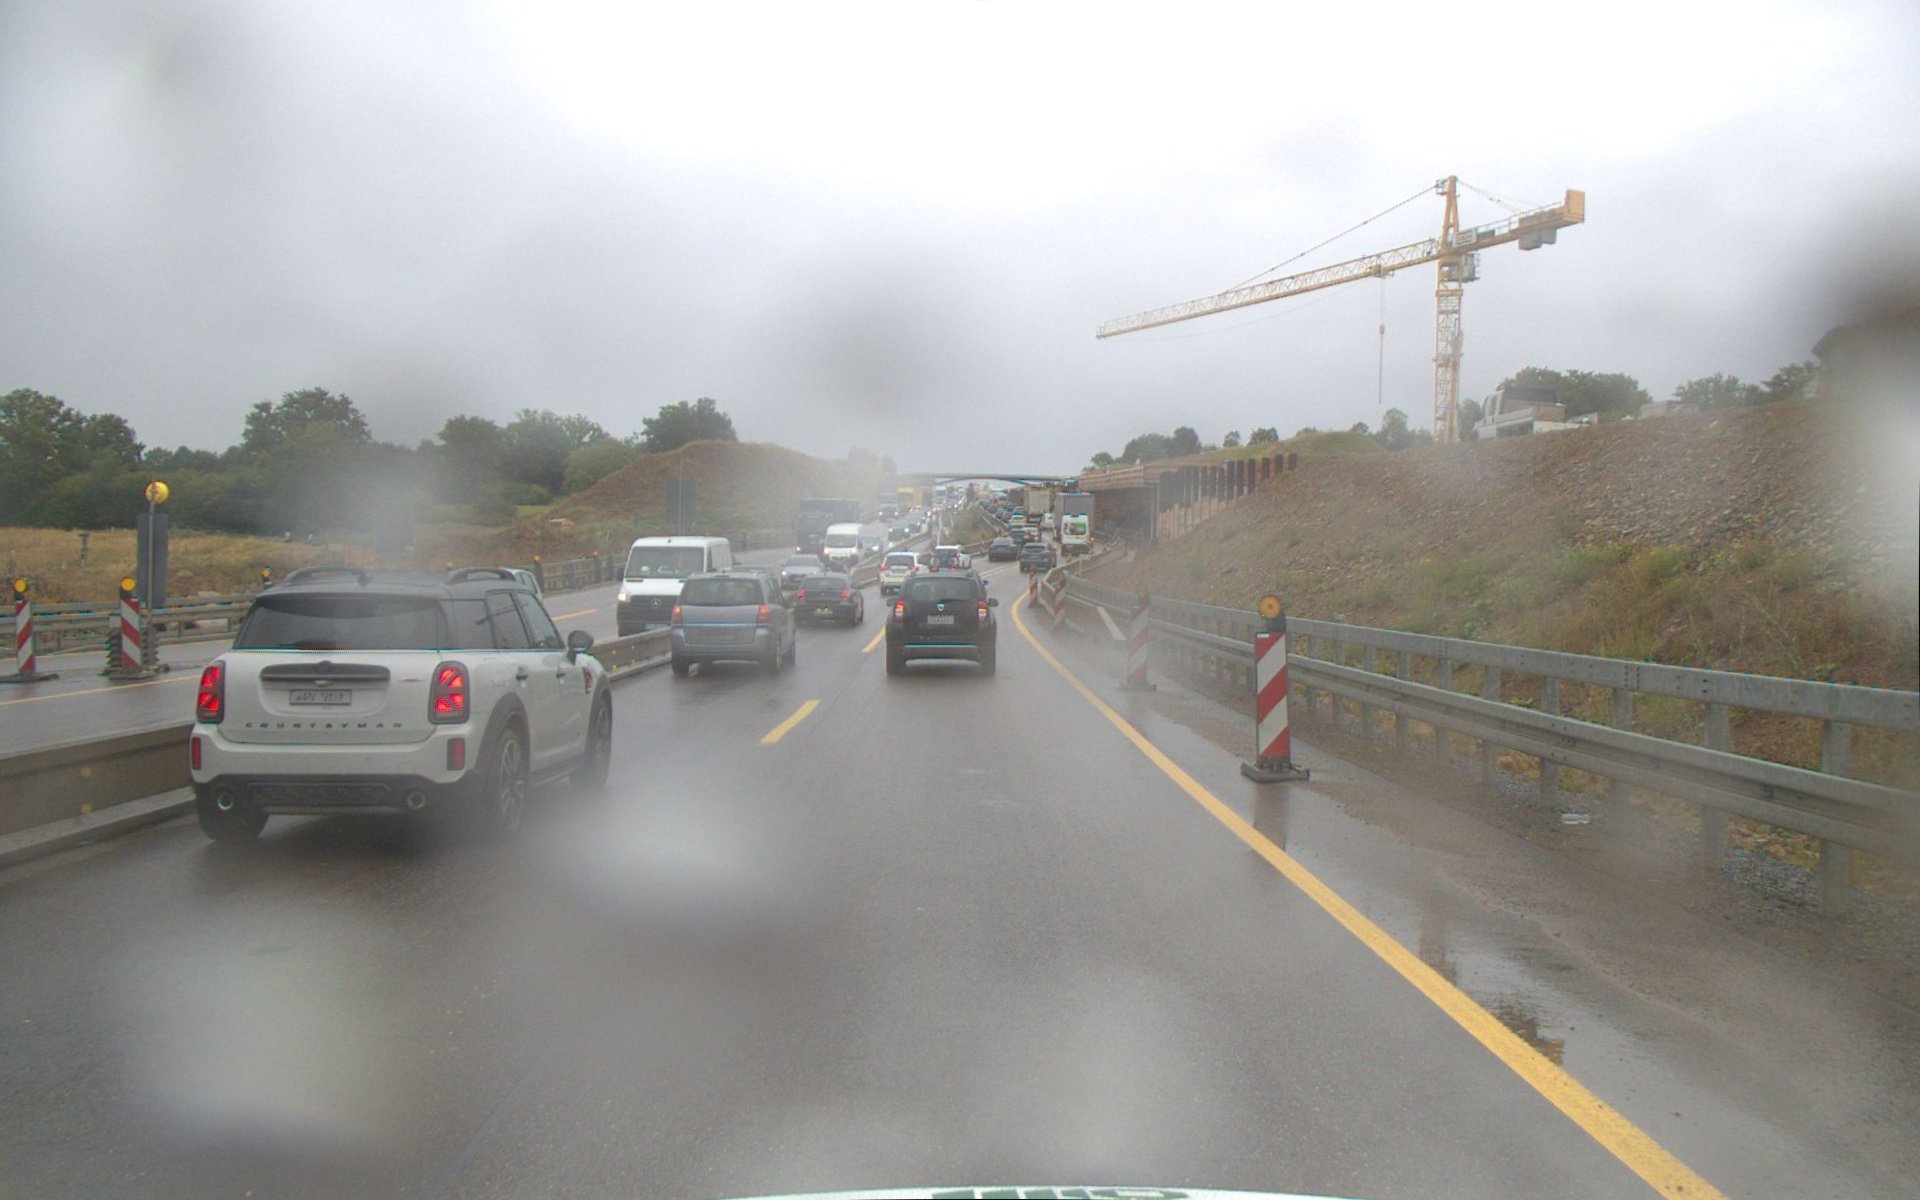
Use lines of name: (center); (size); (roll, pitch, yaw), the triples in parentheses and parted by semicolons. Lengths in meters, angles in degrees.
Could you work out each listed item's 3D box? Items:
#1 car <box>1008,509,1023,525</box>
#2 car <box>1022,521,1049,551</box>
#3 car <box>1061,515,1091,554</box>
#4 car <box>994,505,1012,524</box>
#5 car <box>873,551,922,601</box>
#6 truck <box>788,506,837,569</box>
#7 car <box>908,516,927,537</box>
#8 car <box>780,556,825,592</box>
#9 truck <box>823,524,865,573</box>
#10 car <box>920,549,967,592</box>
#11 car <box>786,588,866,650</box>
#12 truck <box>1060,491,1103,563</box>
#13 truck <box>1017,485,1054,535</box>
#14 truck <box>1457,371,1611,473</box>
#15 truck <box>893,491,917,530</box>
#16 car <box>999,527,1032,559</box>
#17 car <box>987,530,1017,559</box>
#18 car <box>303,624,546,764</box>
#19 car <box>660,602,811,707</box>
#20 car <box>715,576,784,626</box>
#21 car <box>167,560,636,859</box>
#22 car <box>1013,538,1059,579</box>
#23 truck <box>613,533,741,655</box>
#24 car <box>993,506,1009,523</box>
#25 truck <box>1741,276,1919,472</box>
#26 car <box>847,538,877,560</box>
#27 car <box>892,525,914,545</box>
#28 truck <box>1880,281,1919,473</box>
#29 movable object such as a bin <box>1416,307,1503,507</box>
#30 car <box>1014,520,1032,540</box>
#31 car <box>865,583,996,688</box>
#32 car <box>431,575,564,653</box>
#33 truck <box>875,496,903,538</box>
car: (7.872, -11.722, 233.927); (1.953, 2.049, 3.999); (0, 0, -1)
car: (6.020, -5.051, 131.269); (1.951, 2.200, 4.143); (0, 0, 5)
car: (8.157, -4.549, 115.990); (1.951, 2.528, 4.985); (0, 0, 5)
car: (5.020, -9.980, 192.867); (1.953, 2.048, 4.000); (-1, 2, 0)
car: (-2.581, -0.980, 69.435); (1.953, 2.049, 3.893); (0, 0, -1)
truck: (-9.740, -4.155, 109.855); (2.588, 4.039, 9.213); (0, 2, -1)
car: (-4.246, -7.368, 165.663); (1.749, 1.841, 4.499); (0, 0, 0)
car: (-7.002, -1.186, 73.942); (1.642, 1.550, 4.345); (0, 1, -1)
truck: (-6.700, -2.974, 96.368); (2.104, 2.760, 6.016); (0, 1, -1)
car: (-0.849, -1.534, 88.046); (1.951, 2.200, 4.143); (0, 0, 7)
car: (-3.620, 0.510, 45.409); (1.953, 1.628, 4.139); (0, 0, -2)
truck: (10.099, -5.960, 136.923); (3.035, 5.521, 9.450); (0, 0, 7)
truck: (8.952, -10.665, 197.547); (3.726, 5.131, 12.919); (0, 0, -1)
truck: (18.857, -5.784, 54.790); (2.591, 2.599, 6.983); (0, 0, -1)
truck: (-8.026, -12.952, 240.764); (3.077, 5.511, 8.525); (1, 2, 1)
car: (4.056, -4.083, 119.461); (1.951, 2.200, 4.144); (0, 0, 8)
car: (2.735, -3.622, 108.121); (1.952, 1.792, 3.815); (0, 0, 1)
car: (-6.908, 1.147, 21.884); (1.736, 1.531, 4.678); (0, 1, -1)
car: (-3.703, 0.858, 27.978); (1.952, 1.628, 4.140); (0, 0, 0)
car: (-6.950, 0.009, 55.026); (1.750, 1.565, 4.311); (0, 1, 0)
car: (-3.457, 0.579, 11.162); (1.779, 1.628, 4.307); (0, 0, -1)
car: (4.339, -2.325, 93.973); (1.951, 2.200, 4.144); (0, 0, 12)
truck: (-6.491, -0.117, 38.624); (2.036, 2.621, 5.961); (0, 0, -1)
car: (5.363, -11.172, 216.816); (1.953, 2.048, 4.000); (-1, 2, 0)
truck: (18.789, -4.292, 32.004); (3.325, 2.925, 8.961); (0, 0, 2)
car: (-6.654, -3.468, 112.580); (1.831, 1.496, 4.670); (0, 2, -1)
car: (-4.979, -5.753, 145.501); (1.702, 1.713, 5.553); (1, 2, 0)
truck: (23.266, -5.196, 36.696); (2.325, 4.292, 5.978); (0, 0, -1)
movable object such as a bin: (30.717, -11.599, 102.163); (4.618, 11.032, 10.311); (0, 0, 14)
car: (6.751, -7.461, 176.902); (1.811, 1.927, 4.021); (0, 0, 1)
car: (-0.442, 0.558, 27.809); (2.038, 1.628, 4.140); (0, 0, 0)
car: (-9.743, 0.248, 35.149); (1.751, 1.573, 4.000); (0, 1, -1)
truck: (-8.922, -10.395, 208.625); (3.019, 5.004, 8.566); (1, 2, 1)
